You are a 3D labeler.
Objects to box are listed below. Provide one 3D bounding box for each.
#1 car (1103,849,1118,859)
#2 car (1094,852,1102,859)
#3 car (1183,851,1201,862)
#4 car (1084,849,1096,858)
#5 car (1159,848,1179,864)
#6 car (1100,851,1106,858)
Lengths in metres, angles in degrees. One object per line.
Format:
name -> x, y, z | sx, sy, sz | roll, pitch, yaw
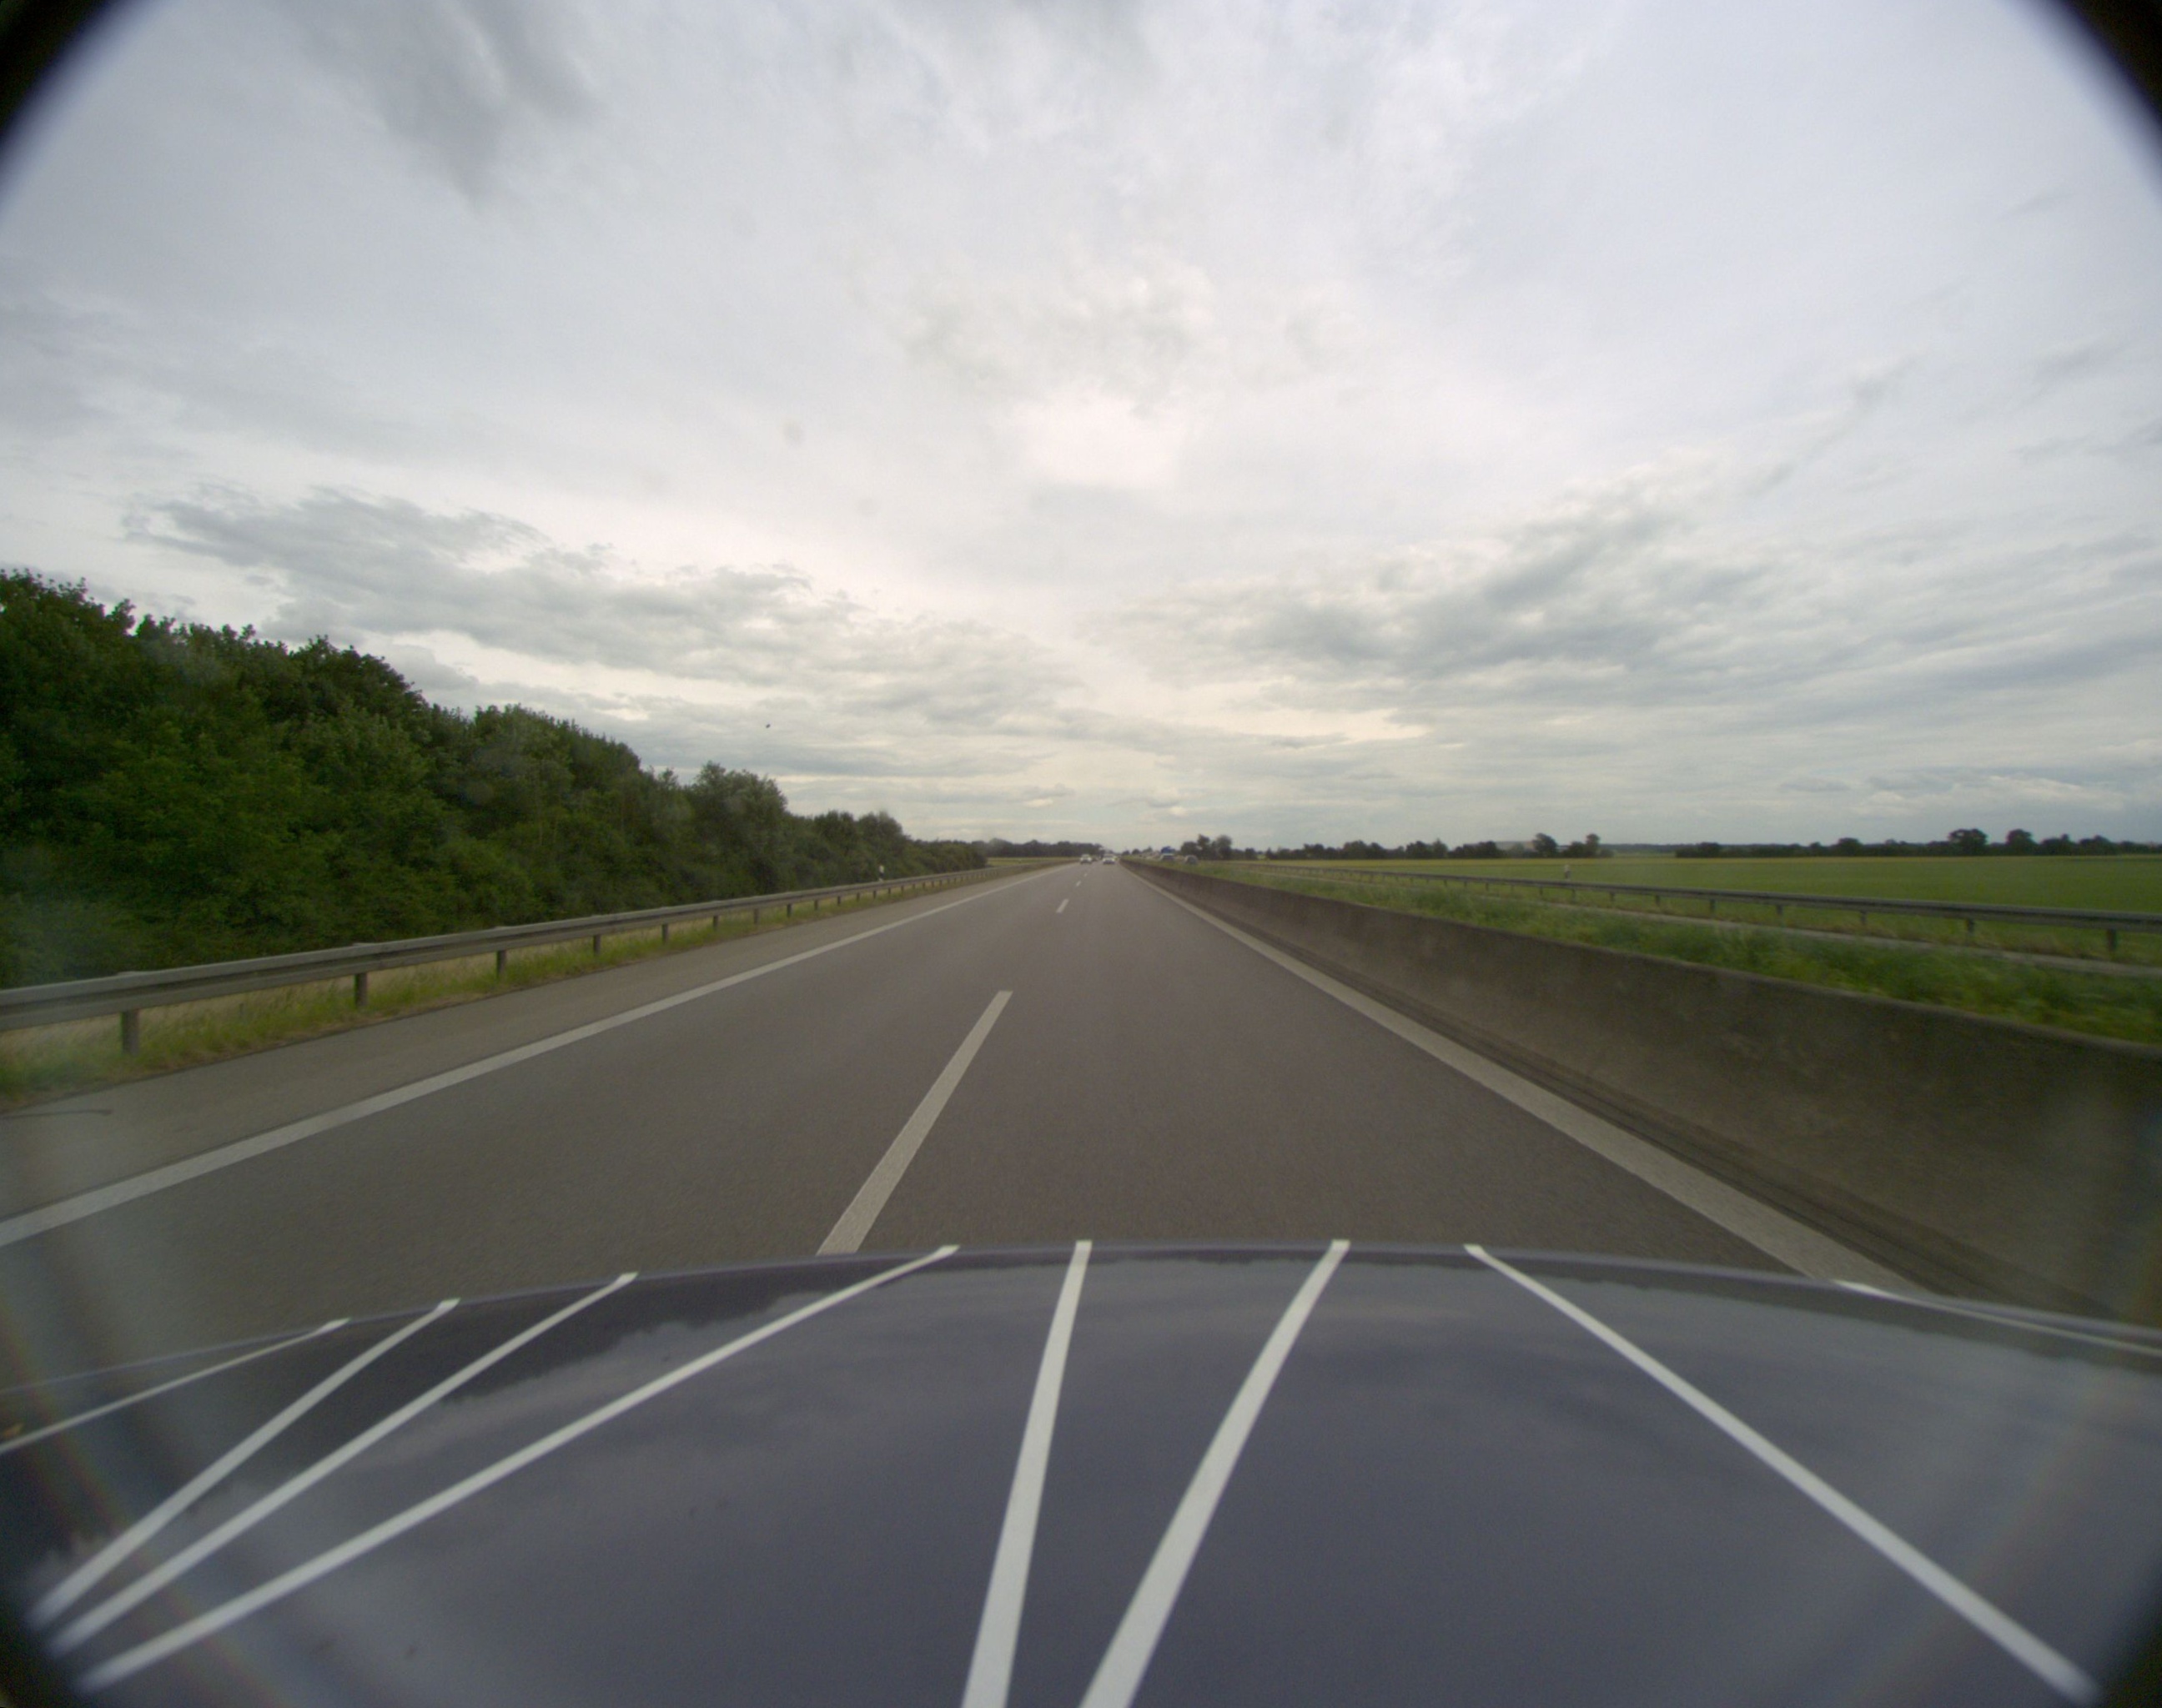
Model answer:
car -> 4.593, 0.017, 120.044 | 1.916, 1.553, 4.286 | -1, 1, -3
car -> 3.966, 0.310, 177.104 | 1.916, 1.553, 4.288 | -1, 1, 2
car -> 14.723, 0.340, 101.110 | 1.750, 1.479, 4.530 | 1, 0, 1
car -> 1.615, -0.065, 130.488 | 1.916, 1.553, 4.288 | -1, 1, 2
car -> 10.045, 0.209, 86.912 | 1.845, 1.684, 4.358 | 1, 1, 1
car -> 7.454, 0.052, 257.141 | 1.915, 2.248, 5.314 | -1, 1, 5
